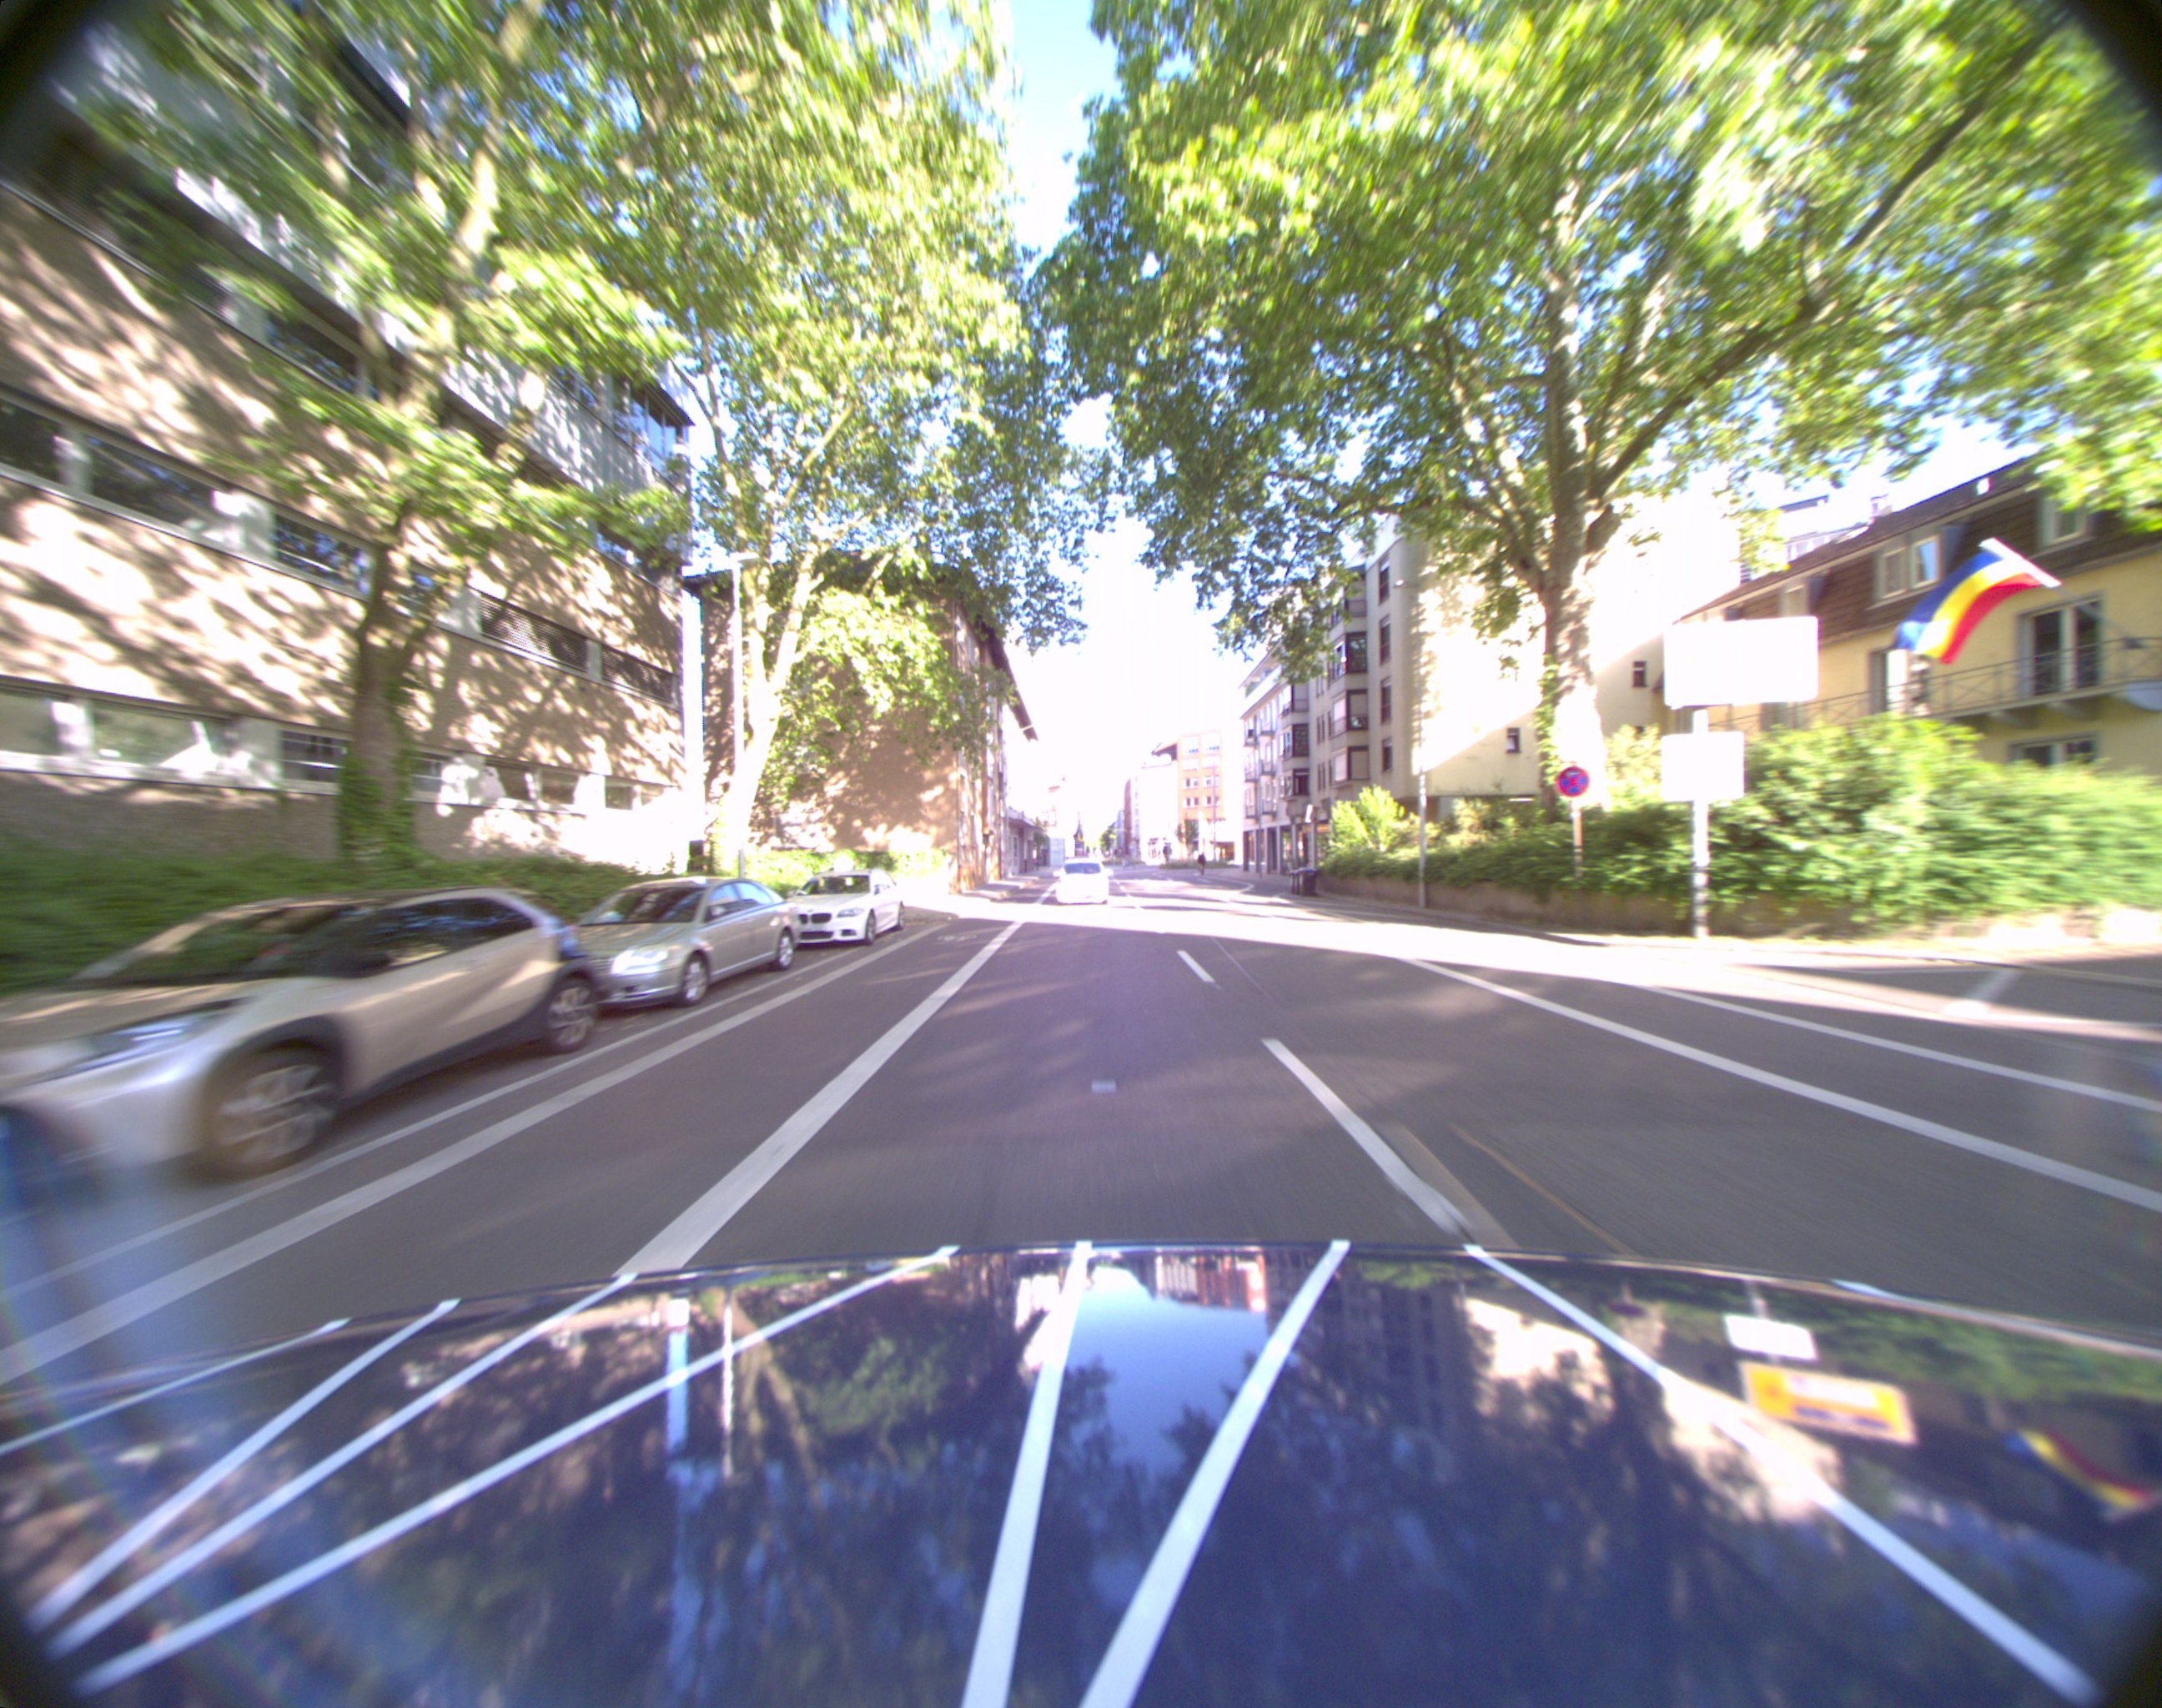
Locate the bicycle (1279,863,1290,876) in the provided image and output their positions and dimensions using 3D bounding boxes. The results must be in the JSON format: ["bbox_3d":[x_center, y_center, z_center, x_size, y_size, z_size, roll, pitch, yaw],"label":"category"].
[{"bbox_3d":[13.401,1.013,50.046,0.359,0.819,1.523,-1,1,3],"label":"bicycle"}]

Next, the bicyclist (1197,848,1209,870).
[{"bbox_3d":[9.011,0.370,56.299,0.730,1.632,1.167,-1,2,2],"label":"bicyclist"}]

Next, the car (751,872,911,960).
[{"bbox_3d":[-4.962,1.142,15.891,1.860,1.428,4.969,-2,0,-3],"label":"car"}]

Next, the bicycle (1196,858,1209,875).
[{"bbox_3d":[9.011,0.931,56.349,0.730,1.193,2.178,0,1,2],"label":"bicycle"}]

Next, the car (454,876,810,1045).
[{"bbox_3d":[-5.325,1.139,9.932,1.860,1.428,4.601,-2,1,0],"label":"car"}]

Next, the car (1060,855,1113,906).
[{"bbox_3d":[0.160,0.852,26.003,1.683,1.490,3.684,-1,1,0],"label":"car"}]

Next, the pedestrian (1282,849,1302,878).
[{"bbox_3d":[12.965,0.595,46.699,0.835,1.730,0.722,-2,2,-19],"label":"pedestrian"}]

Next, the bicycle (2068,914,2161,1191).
[{"bbox_3d":[5.203,0.920,2.738,0.608,1.232,2.049,1,0,1],"label":"bicycle"}]

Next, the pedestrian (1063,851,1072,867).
[{"bbox_3d":[-1.575,0.608,89.322,0.709,1.809,0.705,0,2,-42],"label":"pedestrian"}]

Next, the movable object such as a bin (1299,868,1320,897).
[{"bbox_3d":[8.489,1.055,28.275,0.595,1.065,0.644,-1,1,1],"label":"movable object such as a bin"}]

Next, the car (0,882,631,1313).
[{"bbox_3d":[-5.311,1.096,5.174,1.860,1.514,4.296,-2,1,0],"label":"car"}]

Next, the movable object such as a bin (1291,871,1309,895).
[{"bbox_3d":[8.551,1.115,29.692,0.542,0.896,0.559,-1,1,1],"label":"movable object such as a bin"}]

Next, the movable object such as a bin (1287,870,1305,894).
[{"bbox_3d":[8.570,1.114,30.285,0.542,0.896,0.604,-1,1,1],"label":"movable object such as a bin"}]
